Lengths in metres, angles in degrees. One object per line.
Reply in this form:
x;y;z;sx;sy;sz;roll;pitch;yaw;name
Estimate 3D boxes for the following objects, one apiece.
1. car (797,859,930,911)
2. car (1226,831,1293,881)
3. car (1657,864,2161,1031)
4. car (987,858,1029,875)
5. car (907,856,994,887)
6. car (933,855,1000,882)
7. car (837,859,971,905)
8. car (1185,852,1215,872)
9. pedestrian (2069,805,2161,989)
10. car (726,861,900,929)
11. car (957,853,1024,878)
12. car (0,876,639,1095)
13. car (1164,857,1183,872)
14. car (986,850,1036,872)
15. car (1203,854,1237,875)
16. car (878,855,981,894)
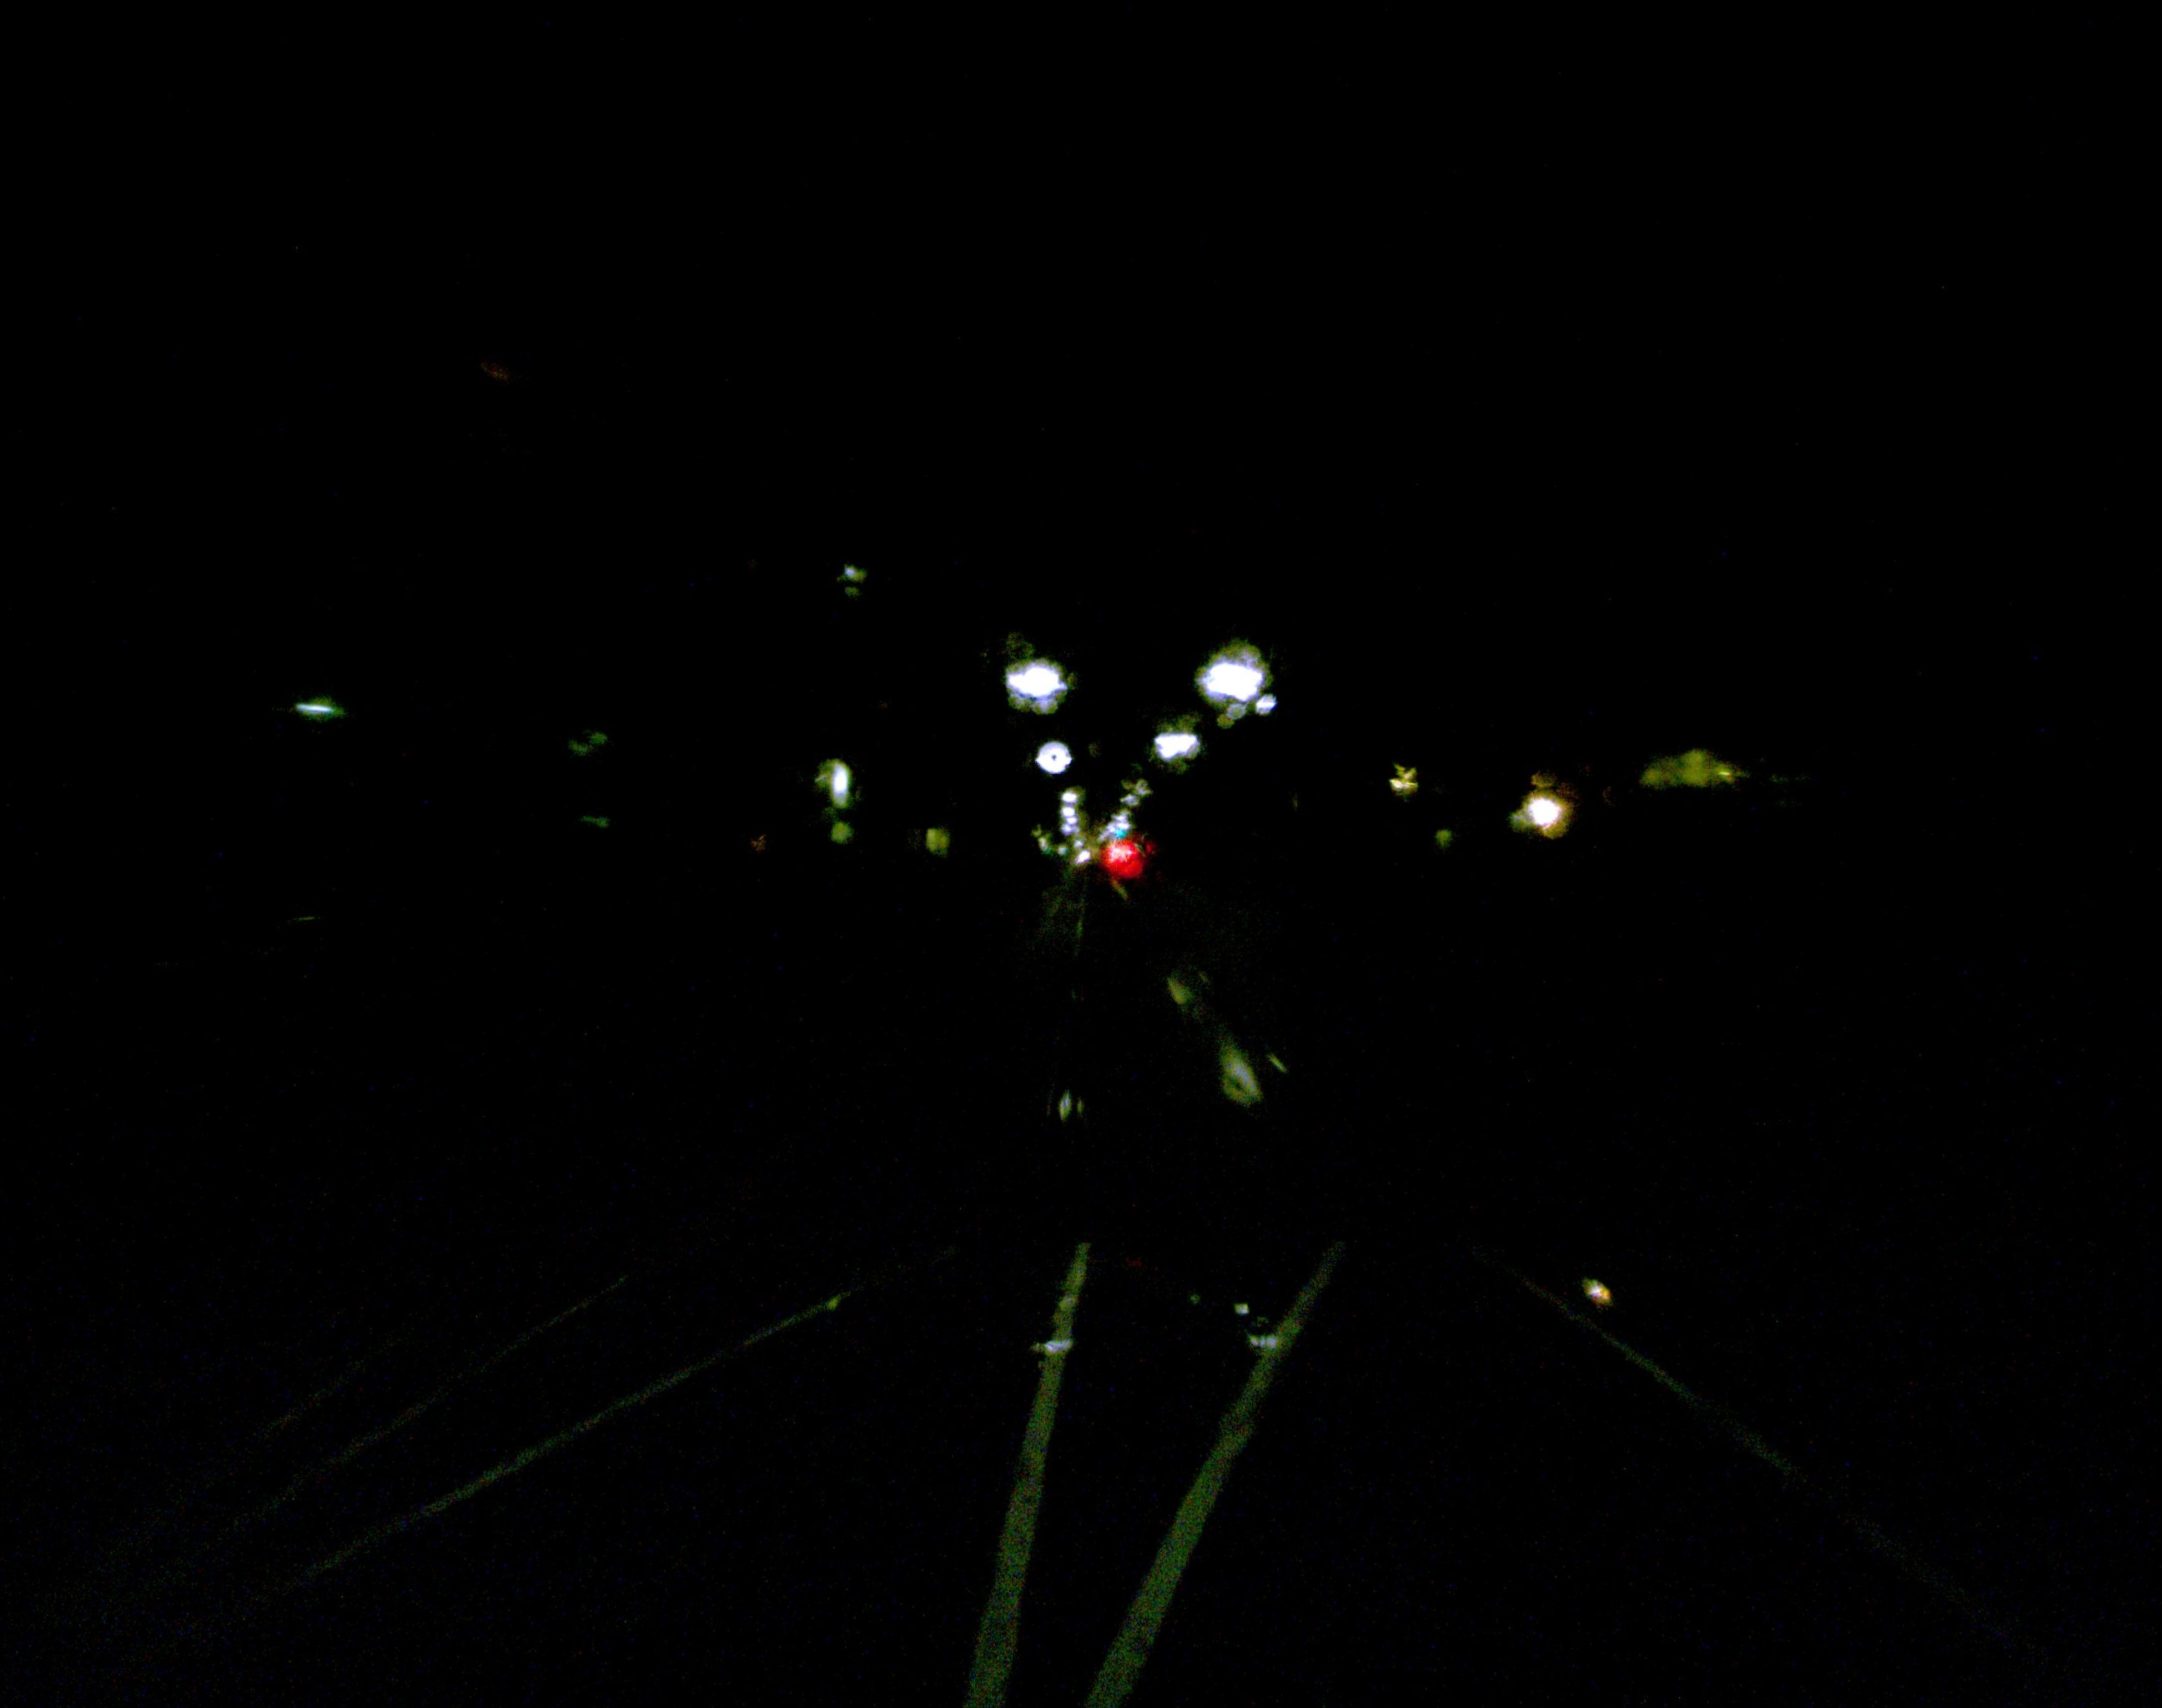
-6.644;0.891;23.342;3.580;1.463;1.649;0;0;-37;car
9.845;0.080;42.441;2.248;2.494;5.259;-3;0;-2;car
9.216;0.899;9.040;1.723;1.447;3.950;-1;0;0;car
-5.727;0.971;59.692;1.503;1.216;2.950;-1;1;43;car
-6.688;0.880;39.162;4.170;1.436;1.651;-2;0;-42;car
-6.899;0.851;45.890;1.712;1.518;3.675;-1;1;45;car
-6.192;0.922;26.878;4.264;1.409;1.780;-2;1;-41;car
9.923;0.636;63.419;1.846;1.572;3.663;-3;0;0;car
11.526;0.435;7.912;0.794;1.890;1.291;-1;1;1;pedestrian
-6.894;0.978;19.815;1.707;1.503;3.915;-1;1;44;car
-5.932;0.755;50.100;4.021;1.518;1.796;-2;1;-42;car
-6.940;1.022;7.394;4.350;1.459;1.677;-1;0;-38;car
10.262;1.132;84.600;1.693;1.565;3.918;-1;0;1;car
-6.040;0.587;65.772;3.965;1.760;1.666;-2;1;-37;car
9.939;0.720;54.626;1.720;1.399;3.390;-3;0;0;car
-6.524;0.860;33.059;1.658;1.473;4.194;-3;-1;42;car
